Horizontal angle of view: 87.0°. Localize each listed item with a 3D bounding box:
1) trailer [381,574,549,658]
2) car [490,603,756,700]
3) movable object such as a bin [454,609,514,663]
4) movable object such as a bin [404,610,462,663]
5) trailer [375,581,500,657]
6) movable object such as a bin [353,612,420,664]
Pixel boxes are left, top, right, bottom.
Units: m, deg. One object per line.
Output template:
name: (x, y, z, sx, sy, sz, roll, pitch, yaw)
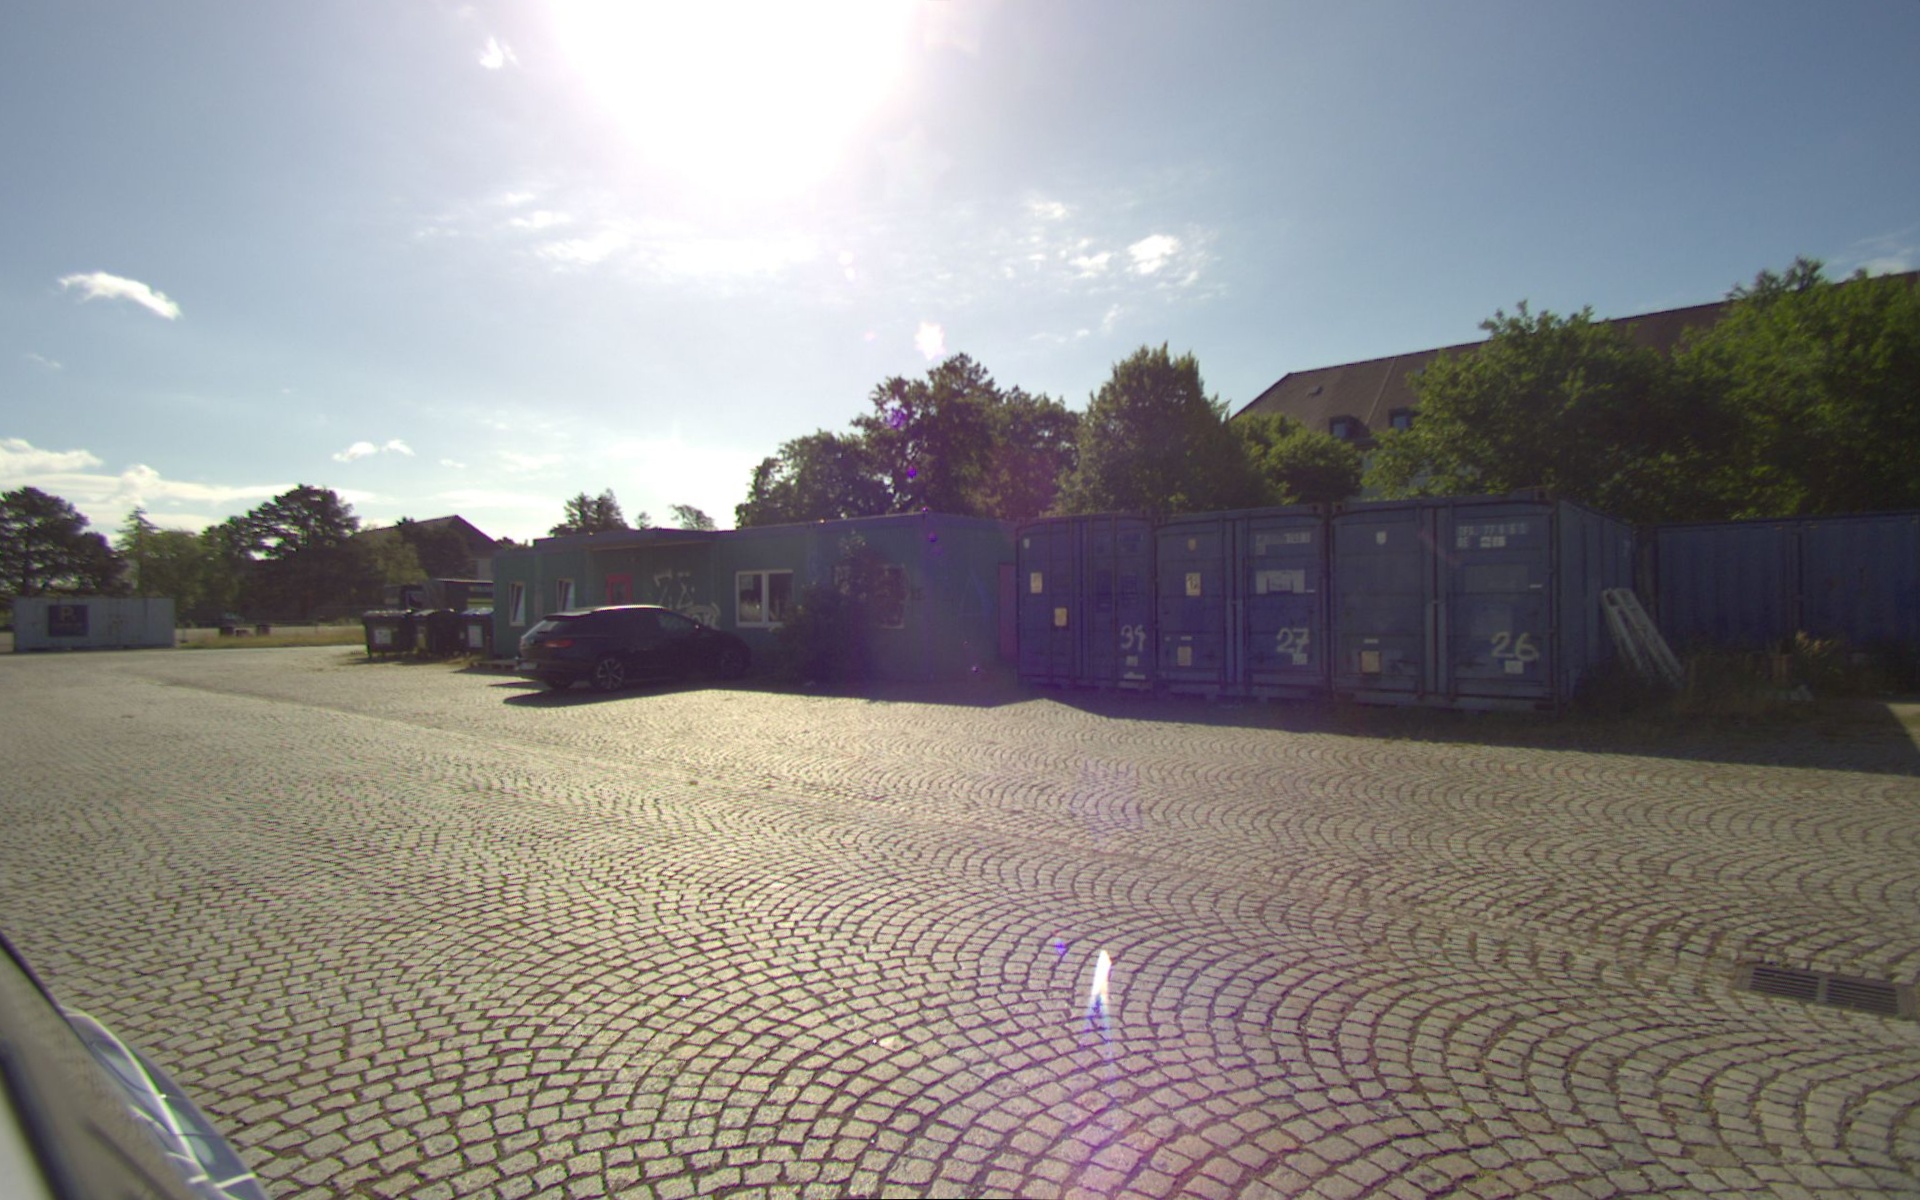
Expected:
trailer: (-16.216, 0.459, 33.362, 1.948, 2.587, 4.594, -1, 0, 37)
car: (-5.986, 0.834, 18.356, 1.929, 1.460, 4.210, -1, 1, 39)
movable object such as a bin: (-13.569, 1.017, 28.847, 1.435, 1.469, 0.876, -1, 0, 31)
movable object such as a bin: (-15.313, 1.040, 29.392, 1.440, 1.469, 1.007, -1, 0, 41)
trailer: (-18.035, 0.605, 35.000, 2.044, 2.488, 3.349, -1, 0, 42)
movable object such as a bin: (-17.215, 1.124, 30.414, 1.416, 1.469, 1.158, -1, 0, -6)
